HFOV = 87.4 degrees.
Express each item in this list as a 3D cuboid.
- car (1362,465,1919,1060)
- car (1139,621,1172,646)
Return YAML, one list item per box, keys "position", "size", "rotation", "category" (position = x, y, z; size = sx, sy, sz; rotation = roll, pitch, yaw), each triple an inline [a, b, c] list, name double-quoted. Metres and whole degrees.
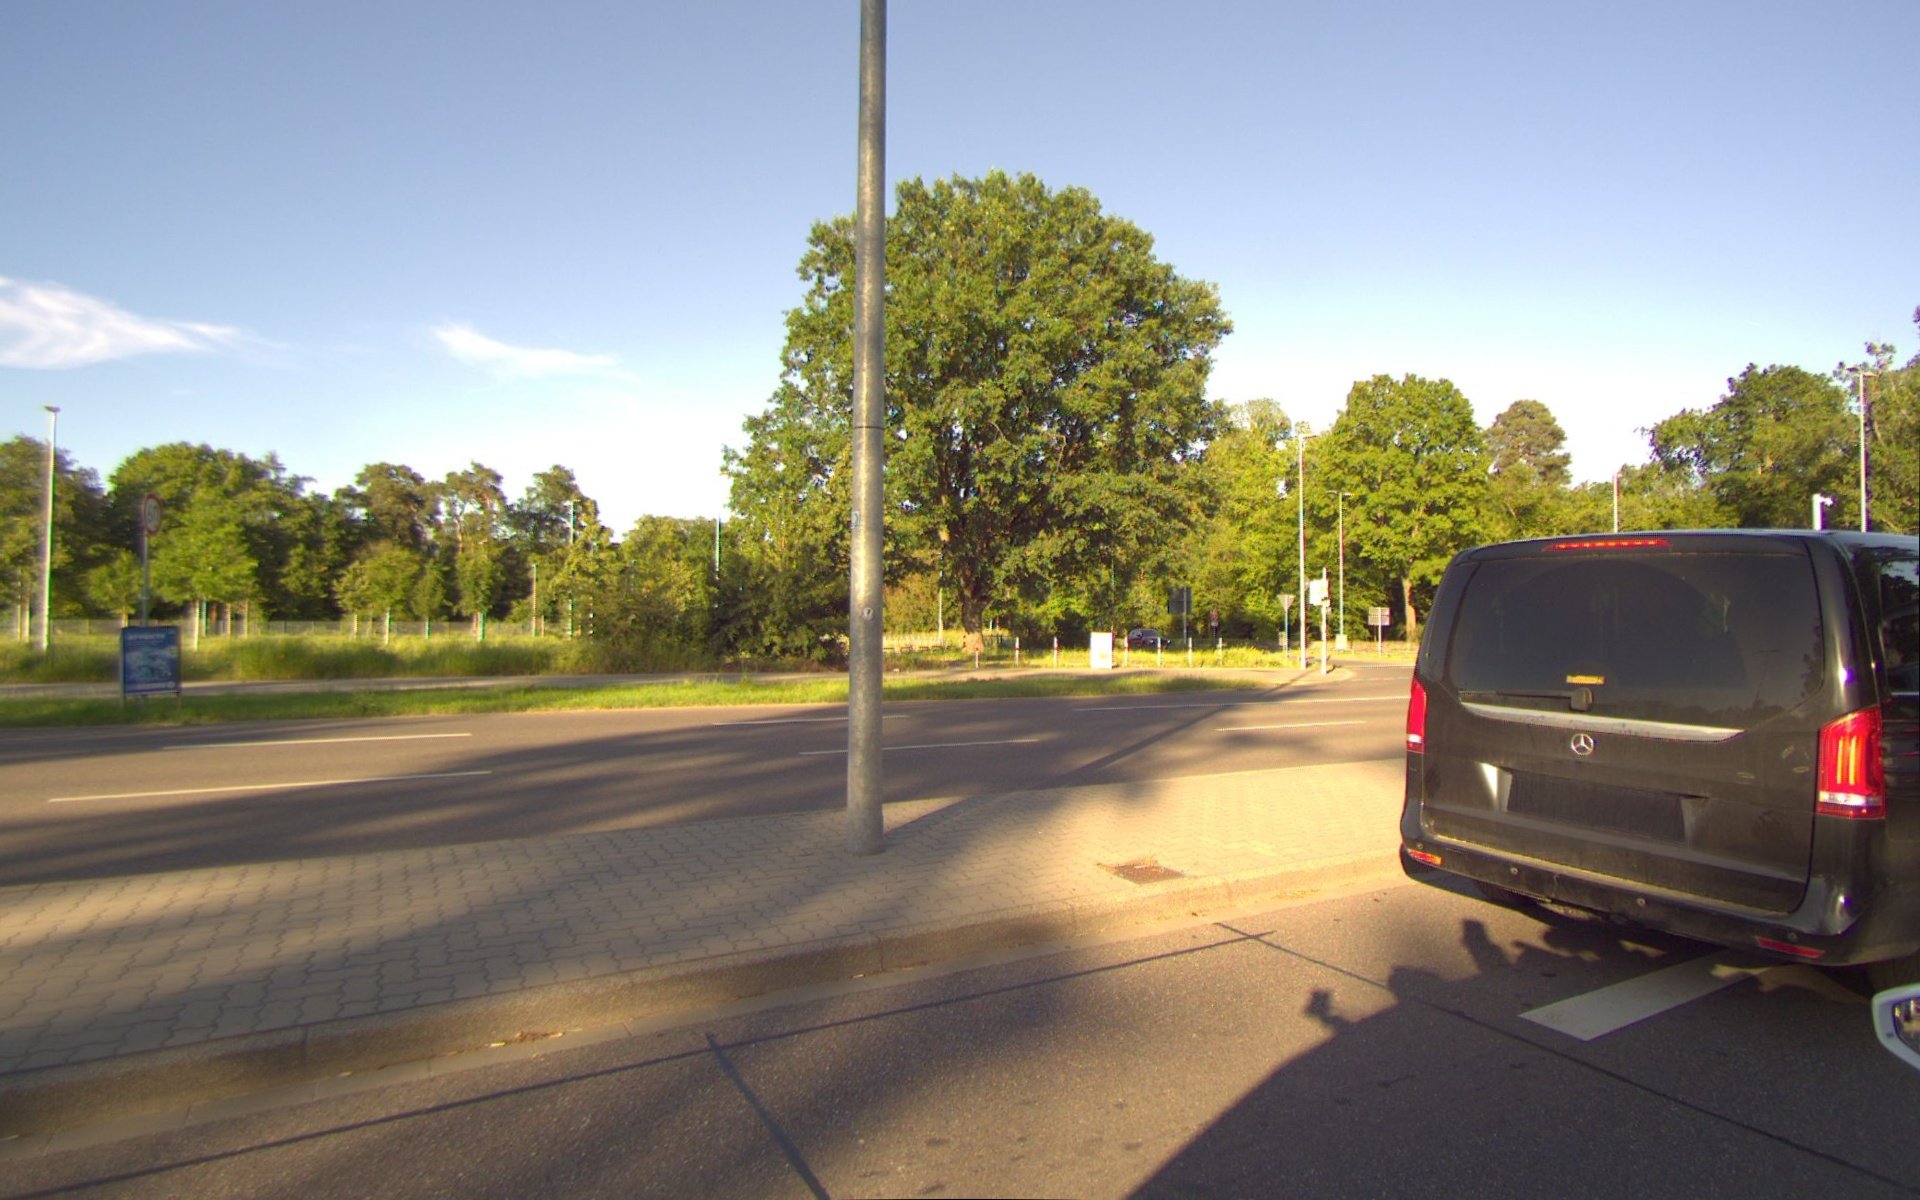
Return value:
- position: [4.480, 0.545, 5.252]
  size: [4.817, 1.881, 1.897]
  rotation: [1, 0, -31]
  category: "car"
- position: [13.773, 2.359, 71.016]
  size: [1.959, 1.639, 4.002]
  rotation: [2, 0, 7]
  category: "car"
